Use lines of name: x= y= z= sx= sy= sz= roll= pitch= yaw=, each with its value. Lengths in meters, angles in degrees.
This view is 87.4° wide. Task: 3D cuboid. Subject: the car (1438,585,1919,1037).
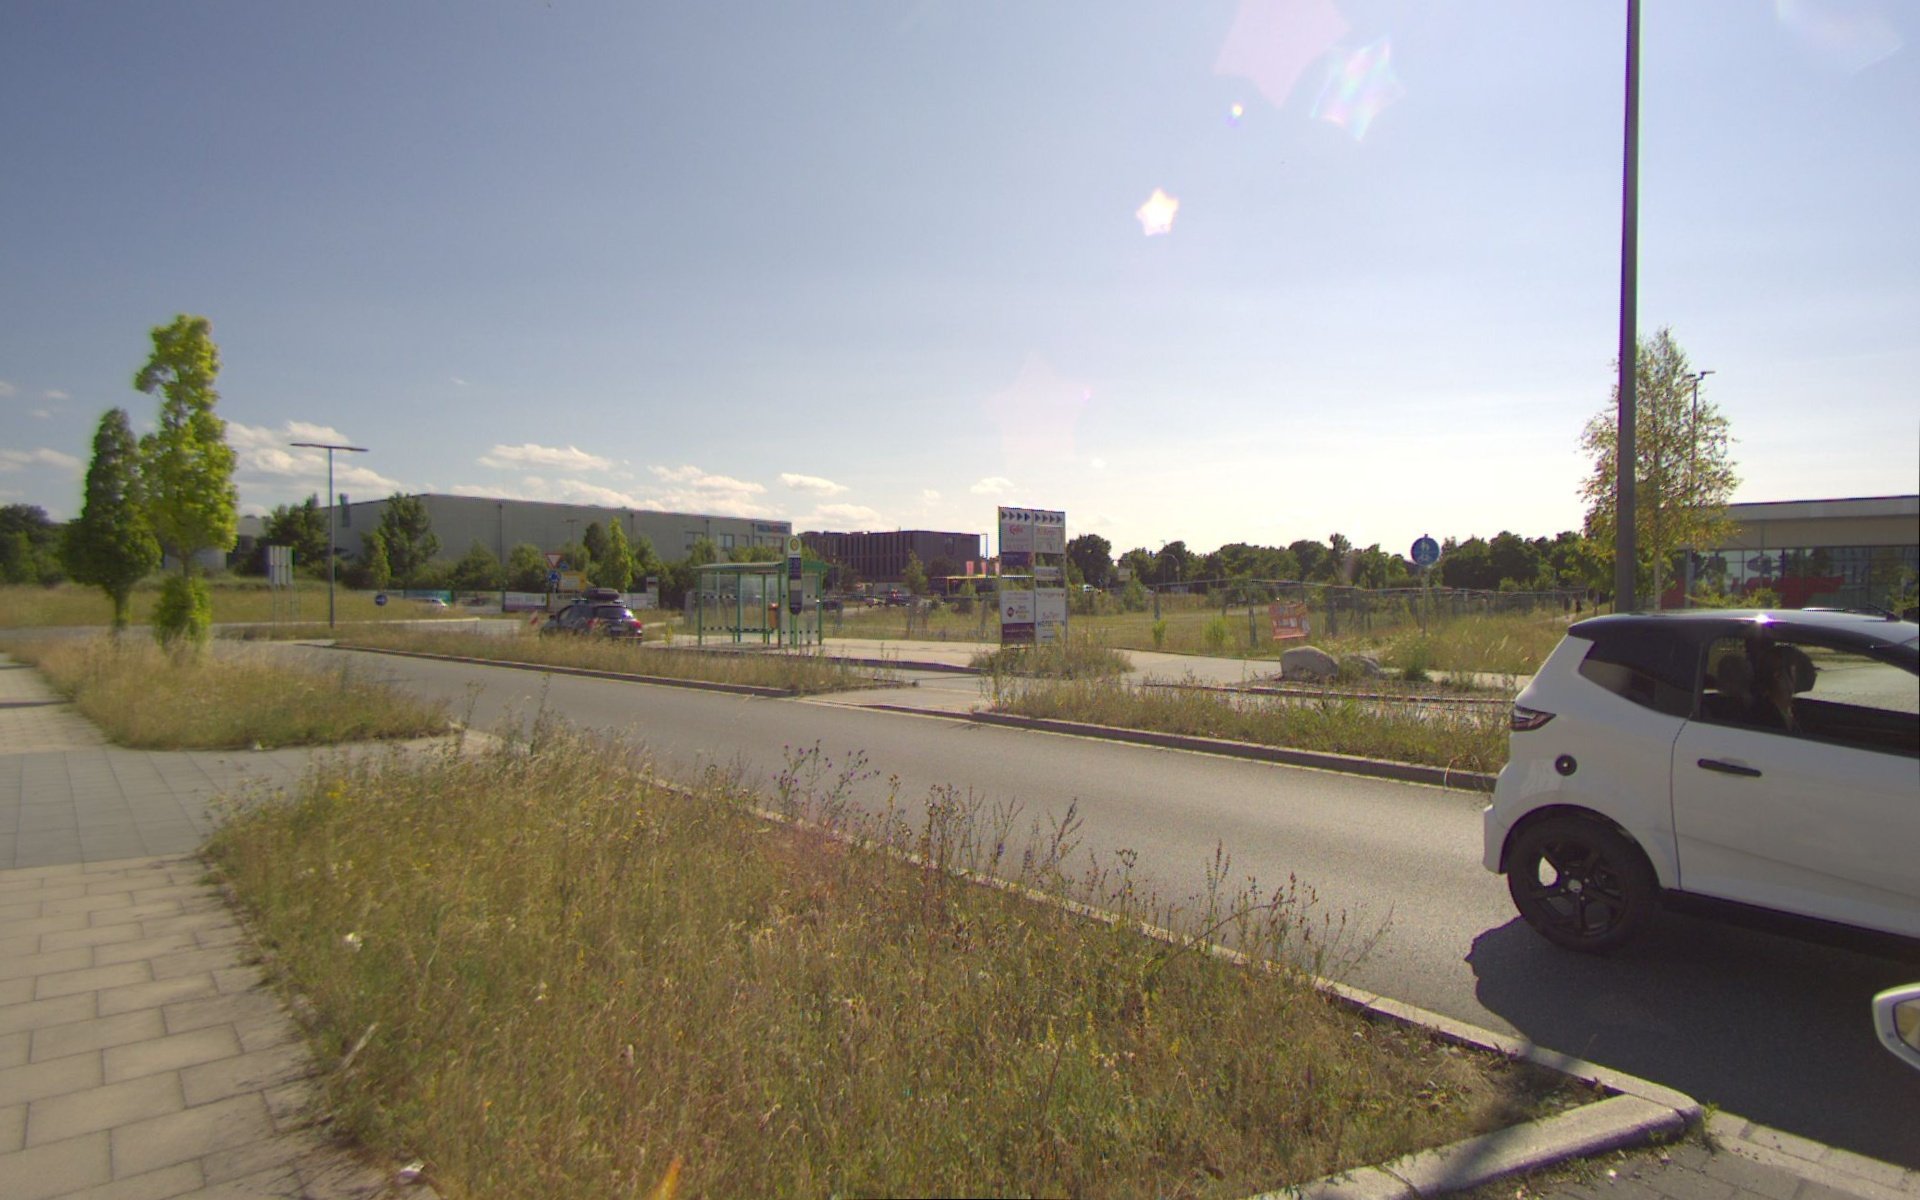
car: x=3.749 y=0.725 z=4.056 sx=1.467 sy=1.510 sz=2.966 roll=-3 pitch=3 yaw=-39

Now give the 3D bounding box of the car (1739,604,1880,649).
car: x=30.645 y=0.922 z=36.303 sx=3.791 sy=1.442 sz=1.762 roll=1 pitch=1 yaw=43

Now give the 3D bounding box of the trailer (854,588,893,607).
trailer: x=-8.777 y=-0.276 z=102.560 sx=1.799 sy=1.885 sz=3.985 roll=1 pitch=0 yaw=37

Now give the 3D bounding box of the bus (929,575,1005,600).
bus: x=0.986 y=-1.460 z=116.362 sx=2.539 sy=2.772 sz=11.524 roll=1 pitch=1 yaw=37

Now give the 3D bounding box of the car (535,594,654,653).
car: x=-10.787 y=0.644 z=29.477 sx=1.984 sy=1.537 sz=4.147 roll=1 pitch=1 yaw=-40

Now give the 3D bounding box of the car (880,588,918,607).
car: x=-6.409 y=-0.248 z=105.723 sx=1.799 sy=1.885 sz=3.985 roll=1 pitch=0 yaw=37
